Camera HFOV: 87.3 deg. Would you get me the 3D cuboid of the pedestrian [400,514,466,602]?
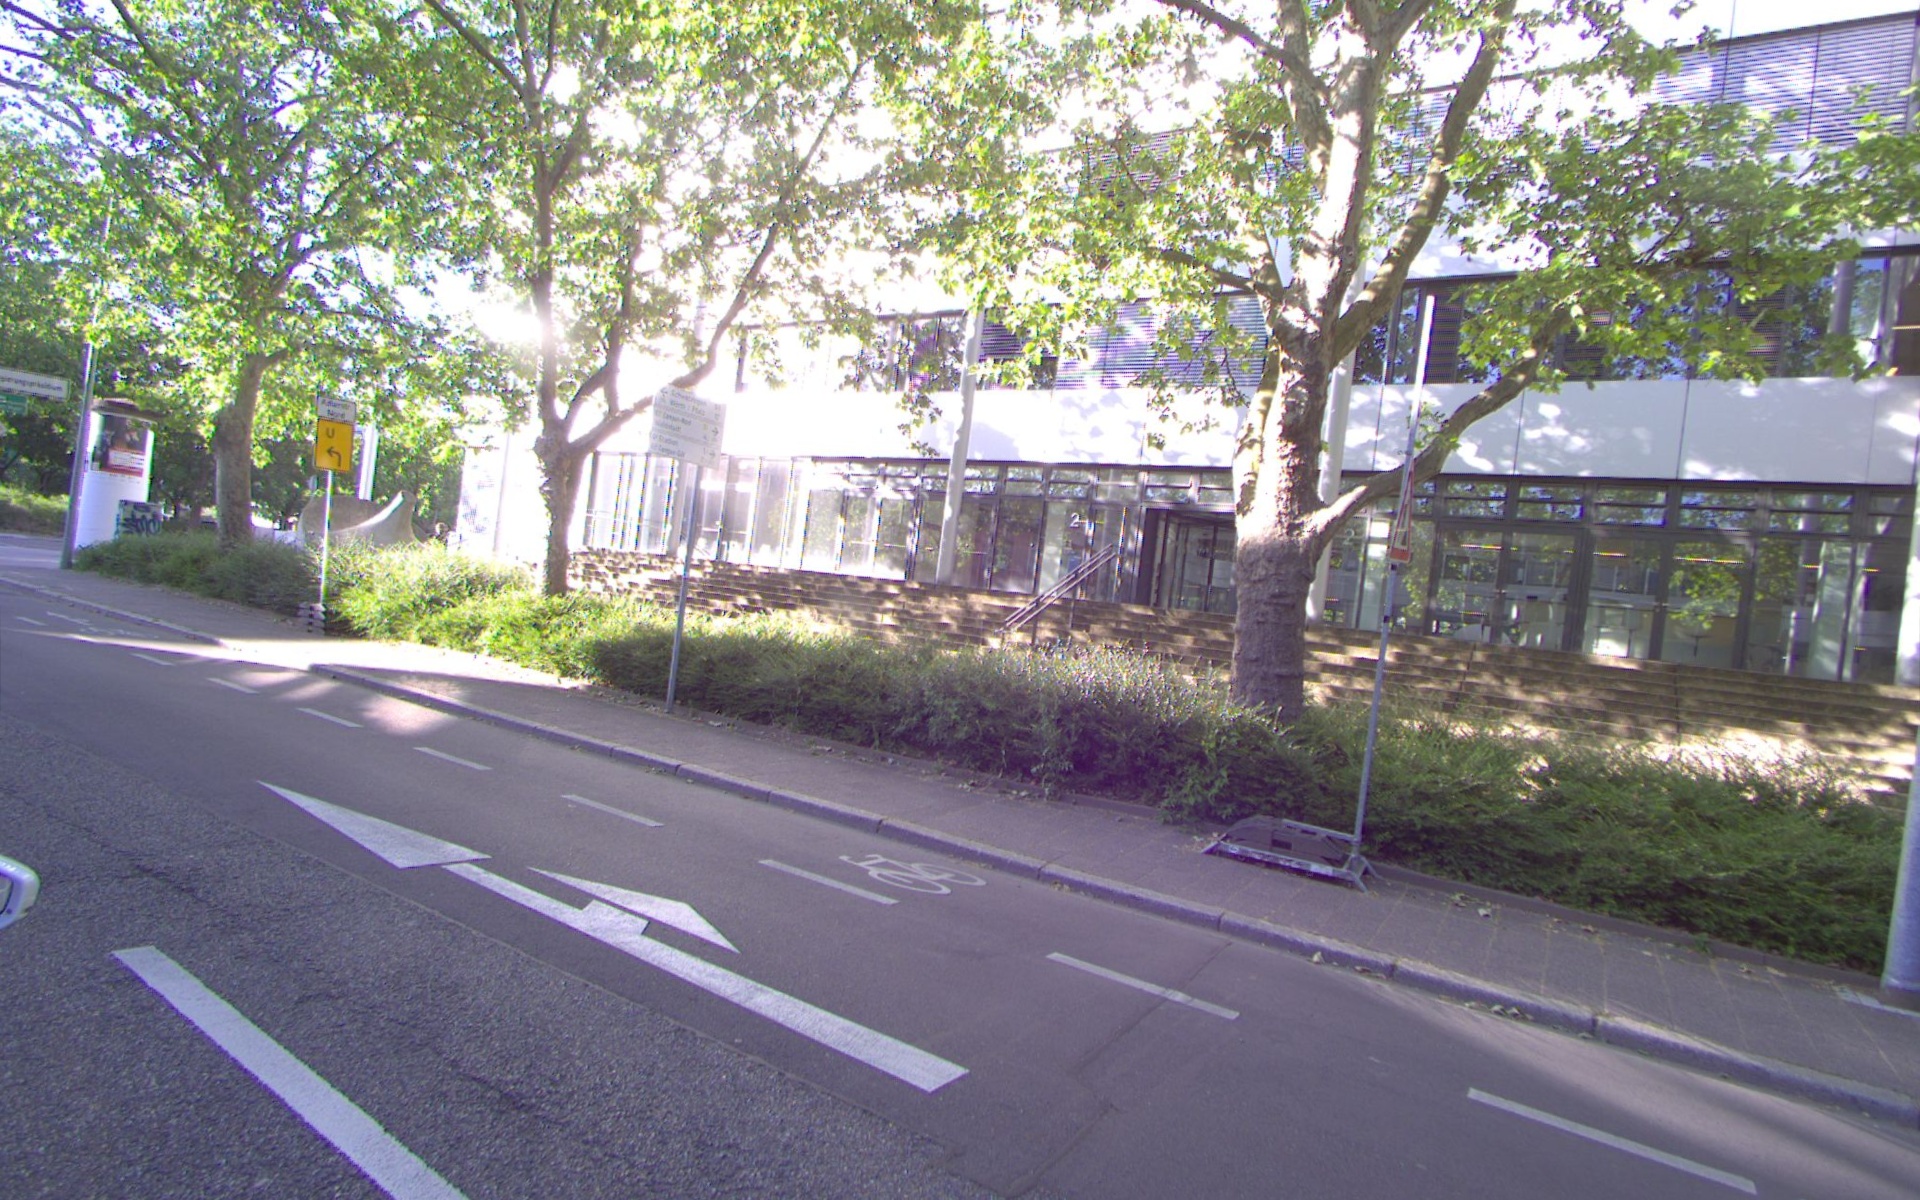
[{"bbox_3d":[-11.794,-0.936,22.527,0.848,1.802,0.785,7,0,30],"label":"pedestrian"}]
